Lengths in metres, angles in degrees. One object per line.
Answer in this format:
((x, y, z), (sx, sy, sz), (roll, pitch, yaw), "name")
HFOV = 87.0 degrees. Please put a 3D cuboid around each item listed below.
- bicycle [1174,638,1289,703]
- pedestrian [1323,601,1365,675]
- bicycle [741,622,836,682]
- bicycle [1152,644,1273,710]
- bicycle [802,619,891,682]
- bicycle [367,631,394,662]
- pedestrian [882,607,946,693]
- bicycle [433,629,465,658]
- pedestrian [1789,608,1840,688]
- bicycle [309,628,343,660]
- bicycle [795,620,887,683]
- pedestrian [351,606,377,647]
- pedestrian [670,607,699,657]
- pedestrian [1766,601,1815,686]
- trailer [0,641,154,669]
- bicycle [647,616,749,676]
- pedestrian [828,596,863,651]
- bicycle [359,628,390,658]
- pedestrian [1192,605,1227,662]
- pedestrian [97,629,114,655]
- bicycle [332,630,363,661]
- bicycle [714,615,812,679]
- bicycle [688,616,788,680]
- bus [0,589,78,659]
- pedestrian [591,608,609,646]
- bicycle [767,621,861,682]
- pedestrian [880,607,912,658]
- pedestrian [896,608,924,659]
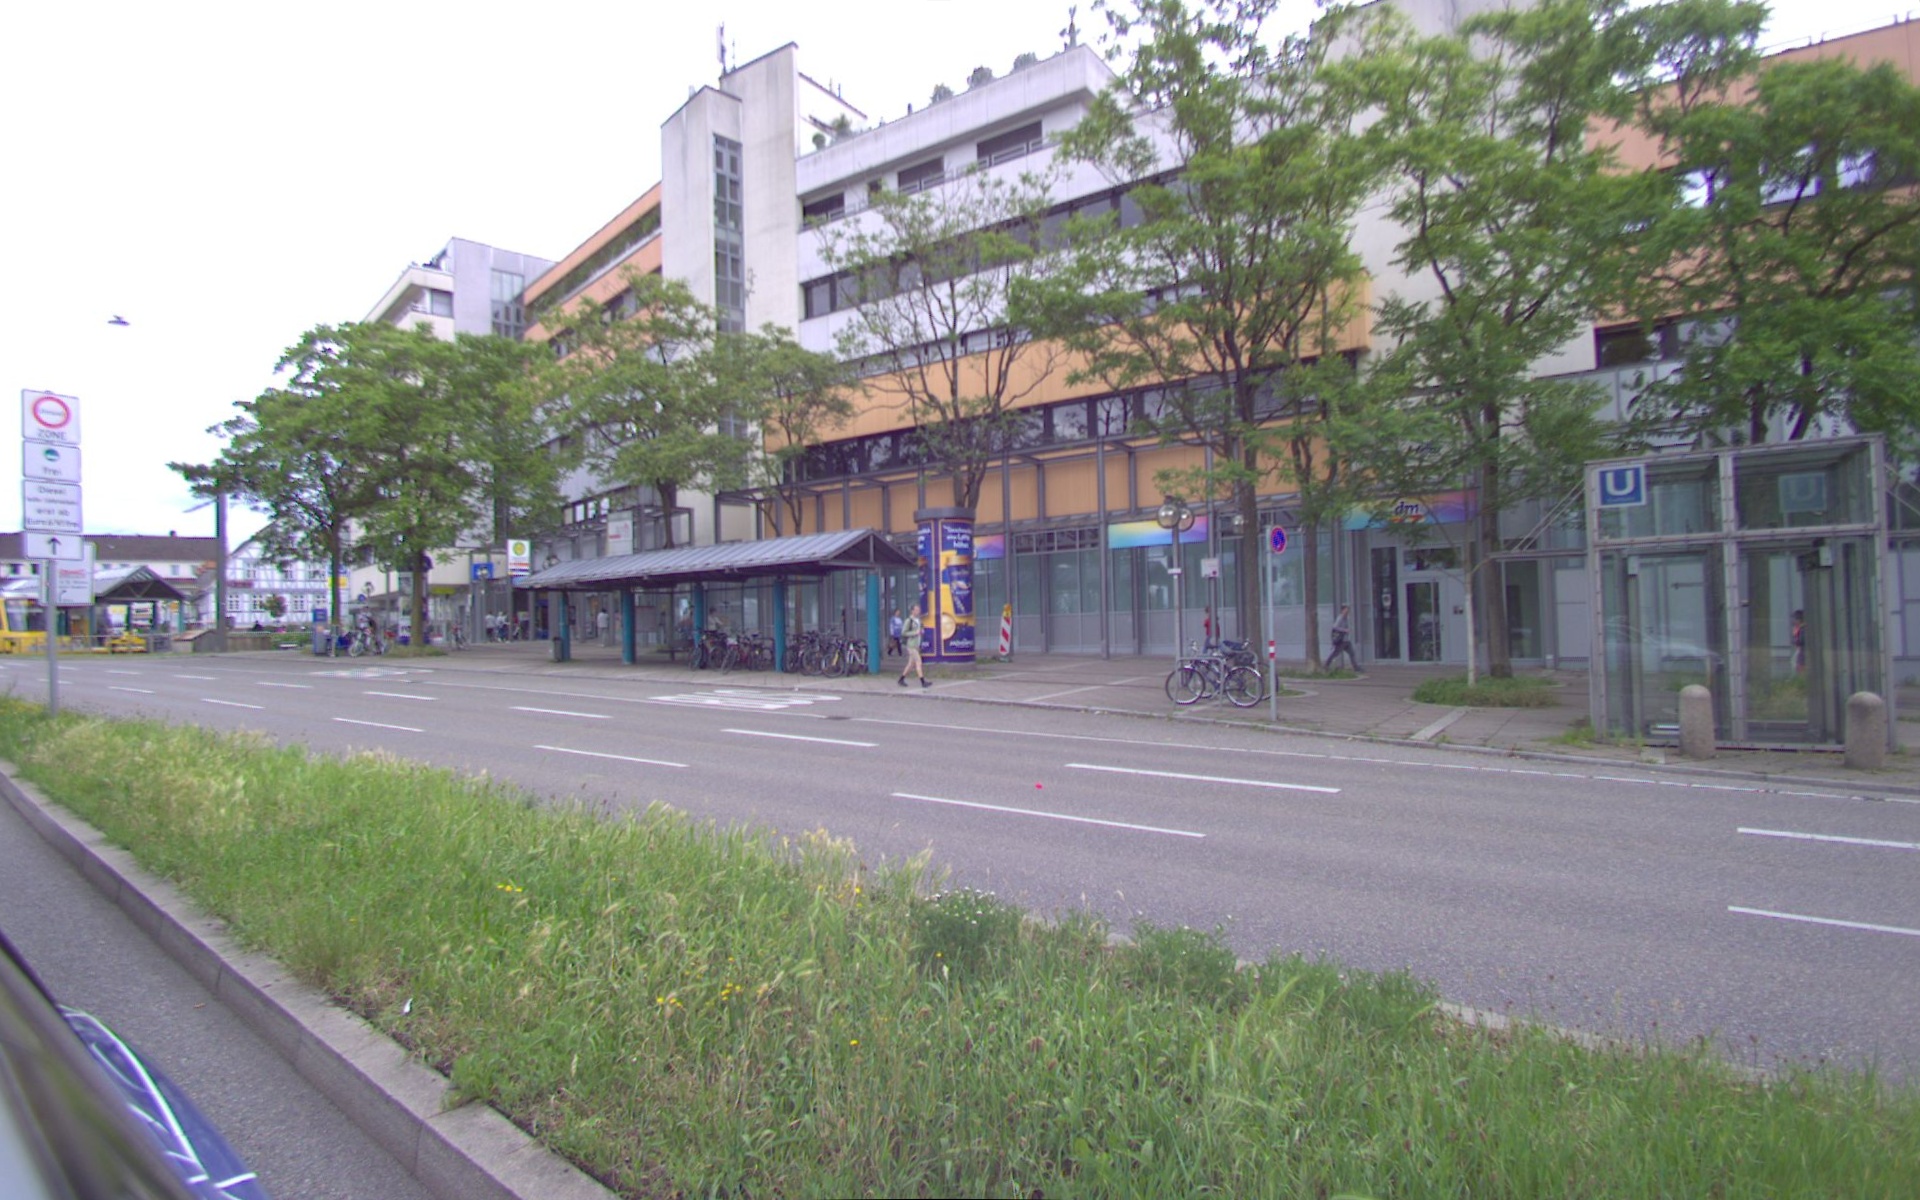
((5.022, 1.295, 18.762), (1.946, 1.145, 0.709), (-1, -2, 26), "bicycle")
((9.357, 0.916, 24.642), (0.787, 1.729, 0.764), (-2, 0, 32), "pedestrian")
((-4.530, 1.354, 26.968), (0.803, 1.518, 2.876), (-2, -2, 32), "bicycle")
((4.434, 1.332, 17.828), (1.926, 1.092, 0.825), (-2, -2, 27), "bicycle")
((-2.840, 1.252, 25.748), (0.597, 1.518, 2.876), (-2, -2, 32), "bicycle")
((-22.809, 1.817, 39.846), (0.594, 1.170, 1.695), (0, -2, -19), "bicycle")
((-1.020, 1.076, 22.393), (1.212, 1.836, 0.697), (-1, 1, 37), "pedestrian")
((-21.485, 1.814, 42.602), (0.663, 1.170, 2.023), (-1, -2, -11), "bicycle")
((17.358, 0.968, 20.564), (0.678, 1.601, 0.513), (-2, -2, 32), "pedestrian")
((-25.036, 1.731, 39.975), (0.594, 1.170, 1.971), (-2, 0, -17), "bicycle")
((-2.999, 1.281, 25.843), (0.698, 1.518, 2.876), (-2, -2, 32), "bicycle")
((-27.987, 1.238, 47.517), (0.871, 1.891, 0.738), (-2, -2, 32), "pedestrian")
((-9.773, 1.121, 35.877), (0.763, 1.729, 0.789), (-2, 0, -32), "pedestrian")
((17.405, 0.913, 21.231), (0.678, 1.740, 0.560), (-2, -2, 32), "pedestrian")
((-47.118, 2.894, 53.397), (12.072, 1.343, 2.822), (-2, -2, 29), "trailer")
((-7.342, 1.270, 28.566), (0.969, 1.518, 2.877), (-2, 0, 32), "bicycle")
((-4.250, 0.875, 37.487), (0.932, 2.029, 0.888), (-1, -2, 36), "pedestrian")
((-23.724, 1.736, 41.000), (1.966, 1.170, 0.596), (-3, -3, 44), "bicycle")
((7.113, 0.944, 28.815), (0.822, 1.598, 0.629), (-1, -2, 31), "pedestrian")
((-51.135, 2.509, 60.594), (0.618, 1.585, 0.594), (-2, -2, 30), "pedestrian")
((-24.162, 1.785, 39.930), (0.594, 1.170, 1.971), (0, -2, -18), "bicycle")
((-5.301, 1.230, 27.438), (0.809, 1.518, 2.876), (-2, 1, 33), "bicycle")
((-6.063, 1.285, 27.913), (0.888, 1.518, 2.877), (-2, 1, 32), "bicycle")
((-60.537, 1.643, 61.675), (19.255, 3.889, 3.851), (-2, -2, 29), "bus")
((-15.546, 1.154, 43.691), (0.623, 1.612, 0.625), (-2, 0, -27), "pedestrian")
((-3.762, 1.302, 26.403), (0.776, 1.518, 2.876), (-2, -2, 32), "bicycle")
((-2.041, 1.031, 32.217), (0.705, 1.595, 0.660), (-2, 0, 35), "pedestrian")
((-1.619, 1.075, 32.735), (0.621, 1.612, 0.627), (-2, 0, 35), "pedestrian")
